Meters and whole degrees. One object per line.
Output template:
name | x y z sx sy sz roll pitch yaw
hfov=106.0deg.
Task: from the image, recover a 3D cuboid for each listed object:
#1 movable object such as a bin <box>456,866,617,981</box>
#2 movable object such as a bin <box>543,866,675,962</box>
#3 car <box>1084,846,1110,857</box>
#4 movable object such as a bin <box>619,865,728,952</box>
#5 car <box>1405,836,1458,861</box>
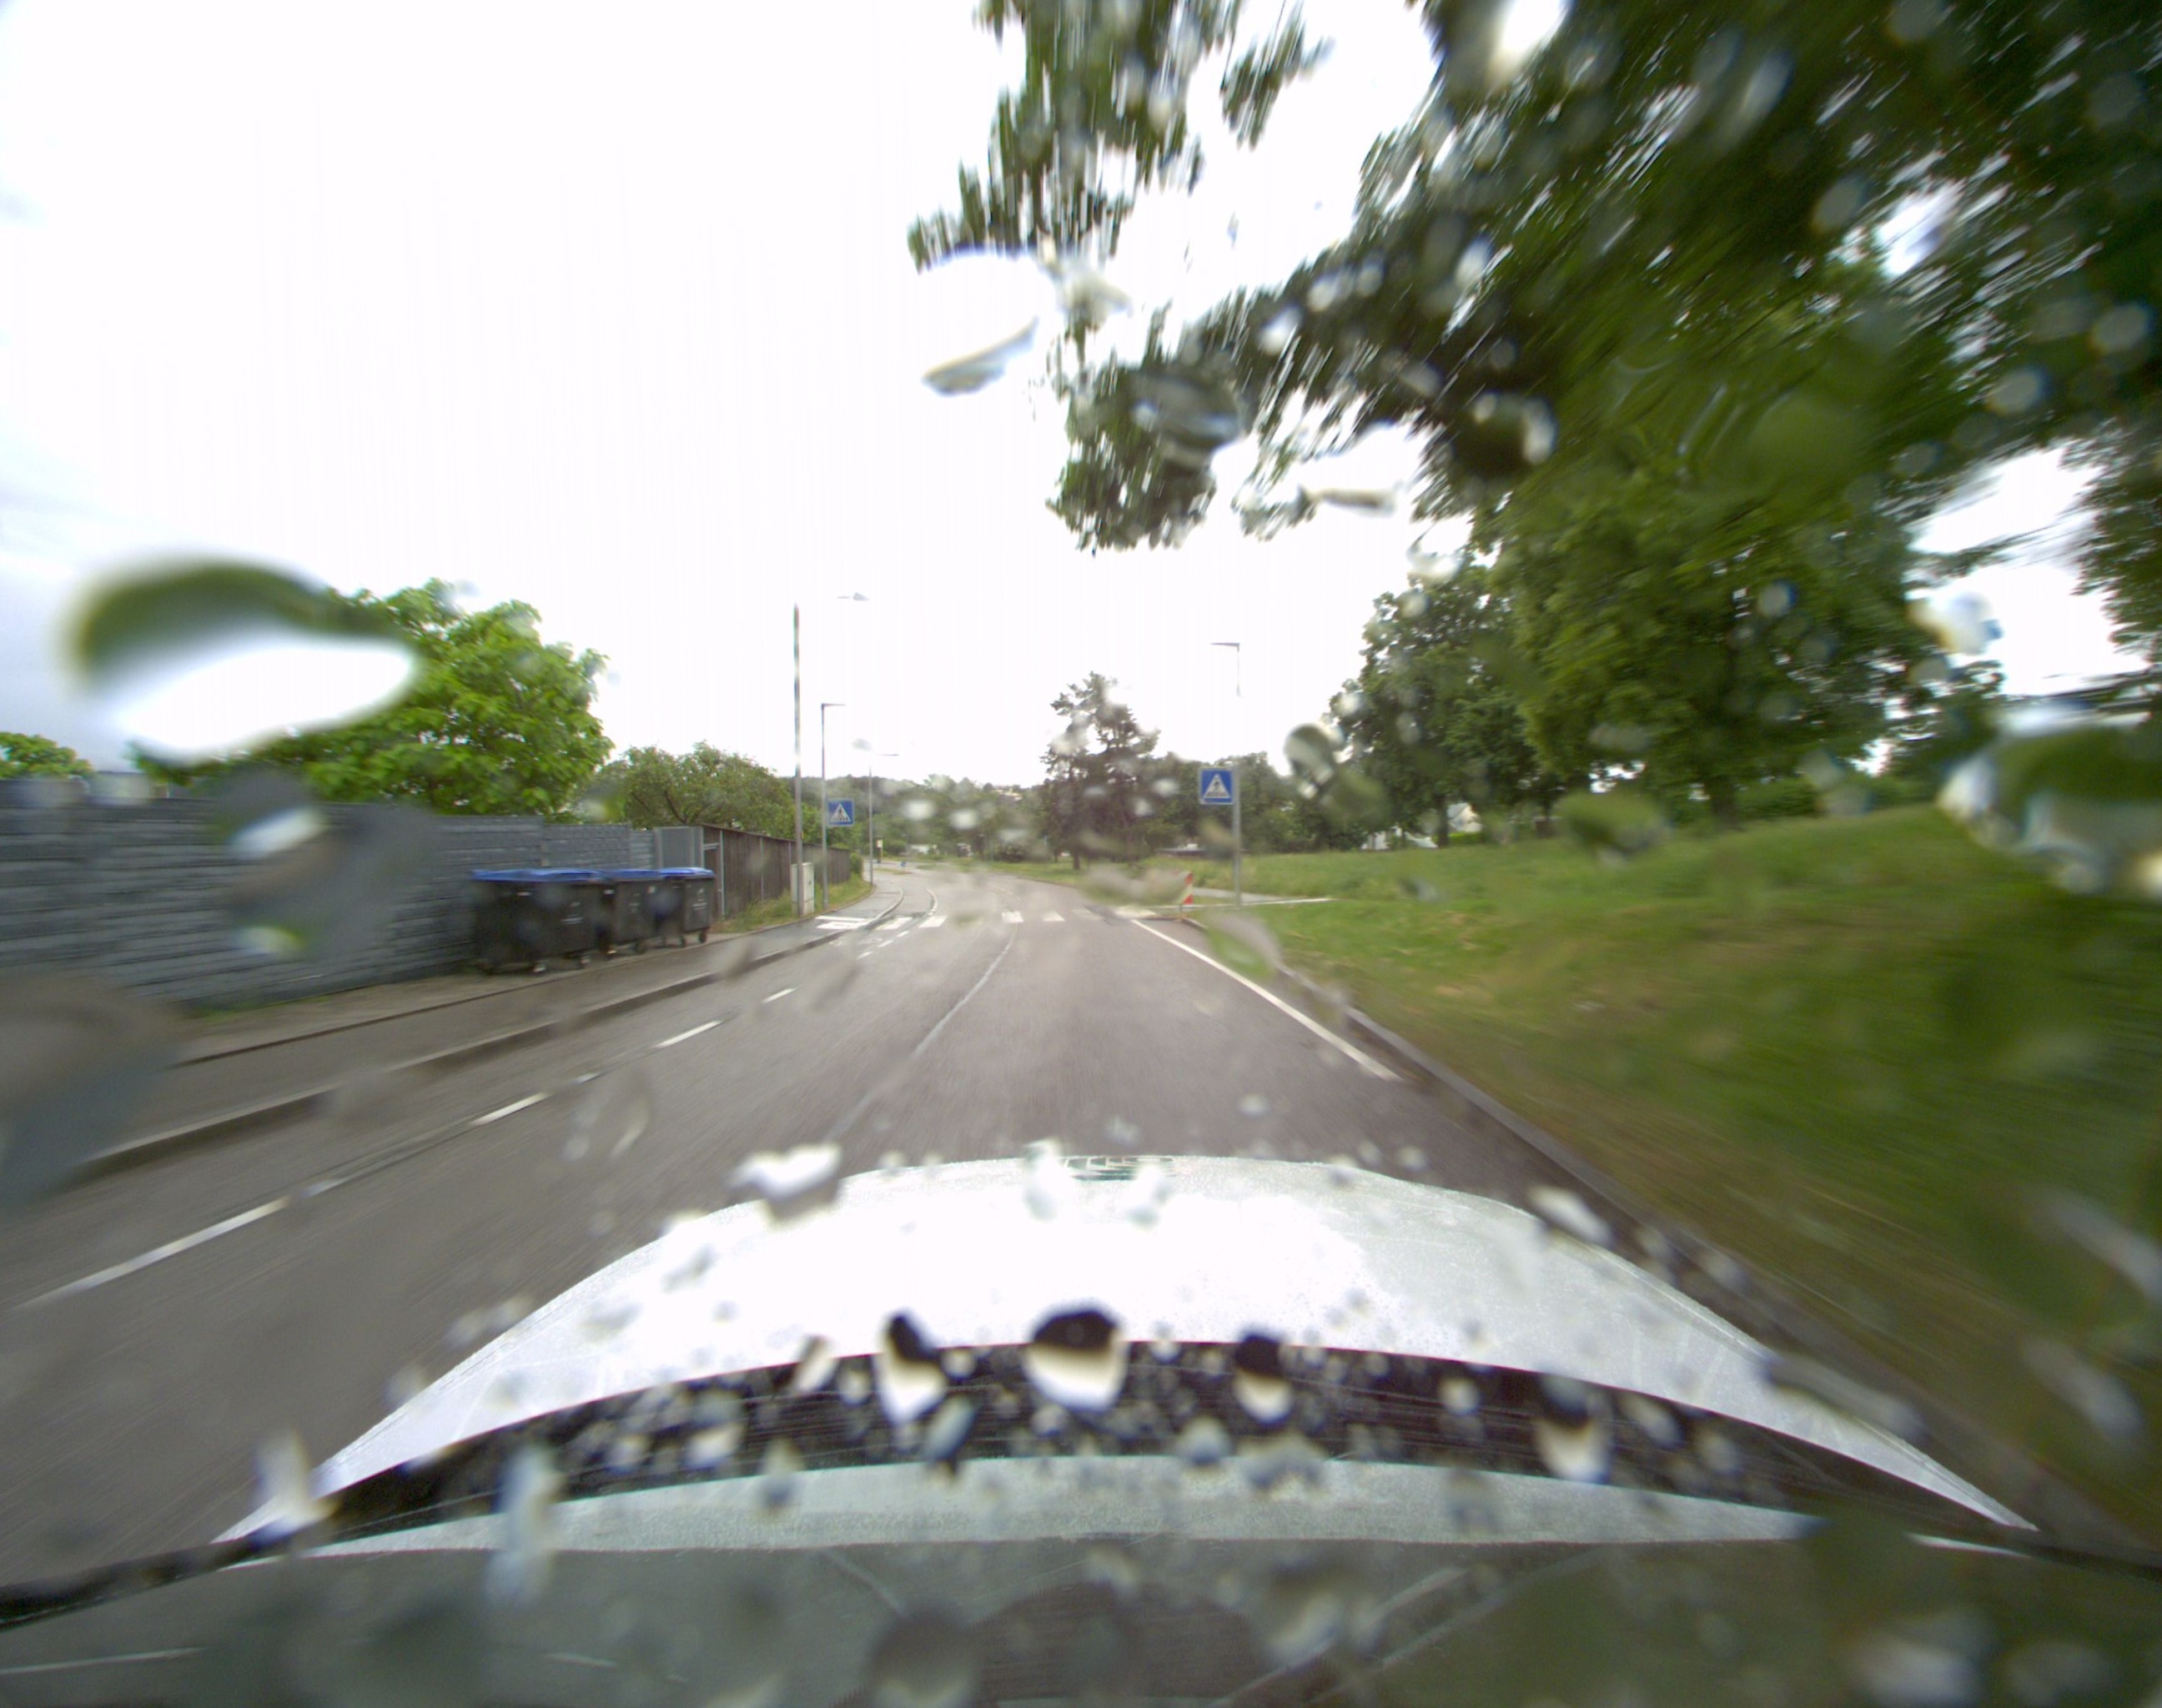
movable object such as a bin | -7.005 0.852 10.585 1.128 1.339 1.398 2 0 -2
movable object such as a bin | -7.007 0.858 12.182 1.128 1.301 1.397 2 0 -2
car | 3.122 -0.514 160.049 4.499 1.750 1.925 -4 0 33
movable object such as a bin | -6.894 0.894 13.867 1.128 1.322 1.361 2 0 -2
car | 24.872 -0.403 57.998 1.822 1.652 3.994 -2 1 -4
